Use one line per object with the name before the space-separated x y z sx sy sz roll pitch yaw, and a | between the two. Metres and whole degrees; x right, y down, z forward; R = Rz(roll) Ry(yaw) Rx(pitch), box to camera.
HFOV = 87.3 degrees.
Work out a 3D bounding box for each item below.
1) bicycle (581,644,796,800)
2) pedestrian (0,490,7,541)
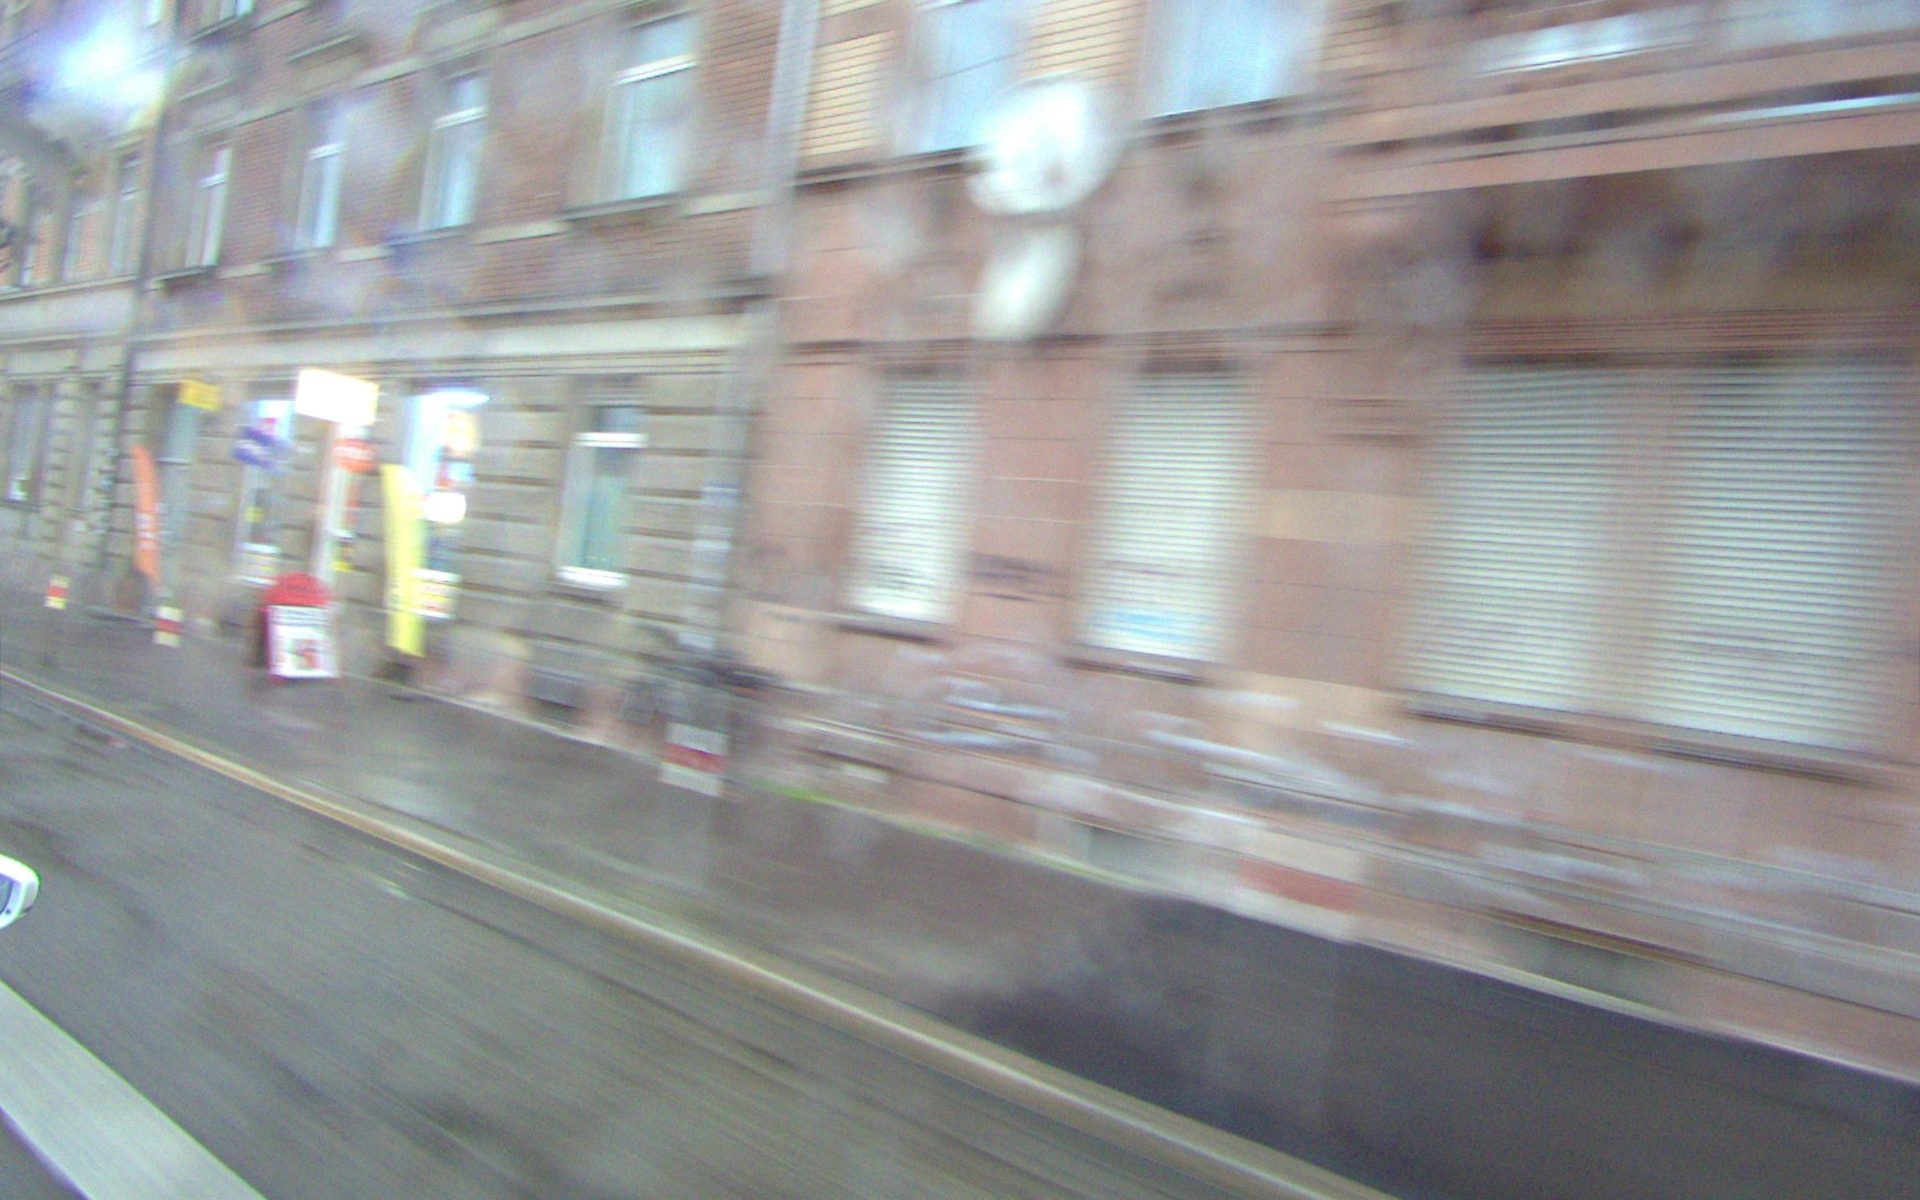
bicycle | -2.195 0.933 8.012 1.835 0.922 0.398 7 -1 31
pedestrian | -16.079 -1.038 16.177 0.729 1.616 0.787 7 -1 32
